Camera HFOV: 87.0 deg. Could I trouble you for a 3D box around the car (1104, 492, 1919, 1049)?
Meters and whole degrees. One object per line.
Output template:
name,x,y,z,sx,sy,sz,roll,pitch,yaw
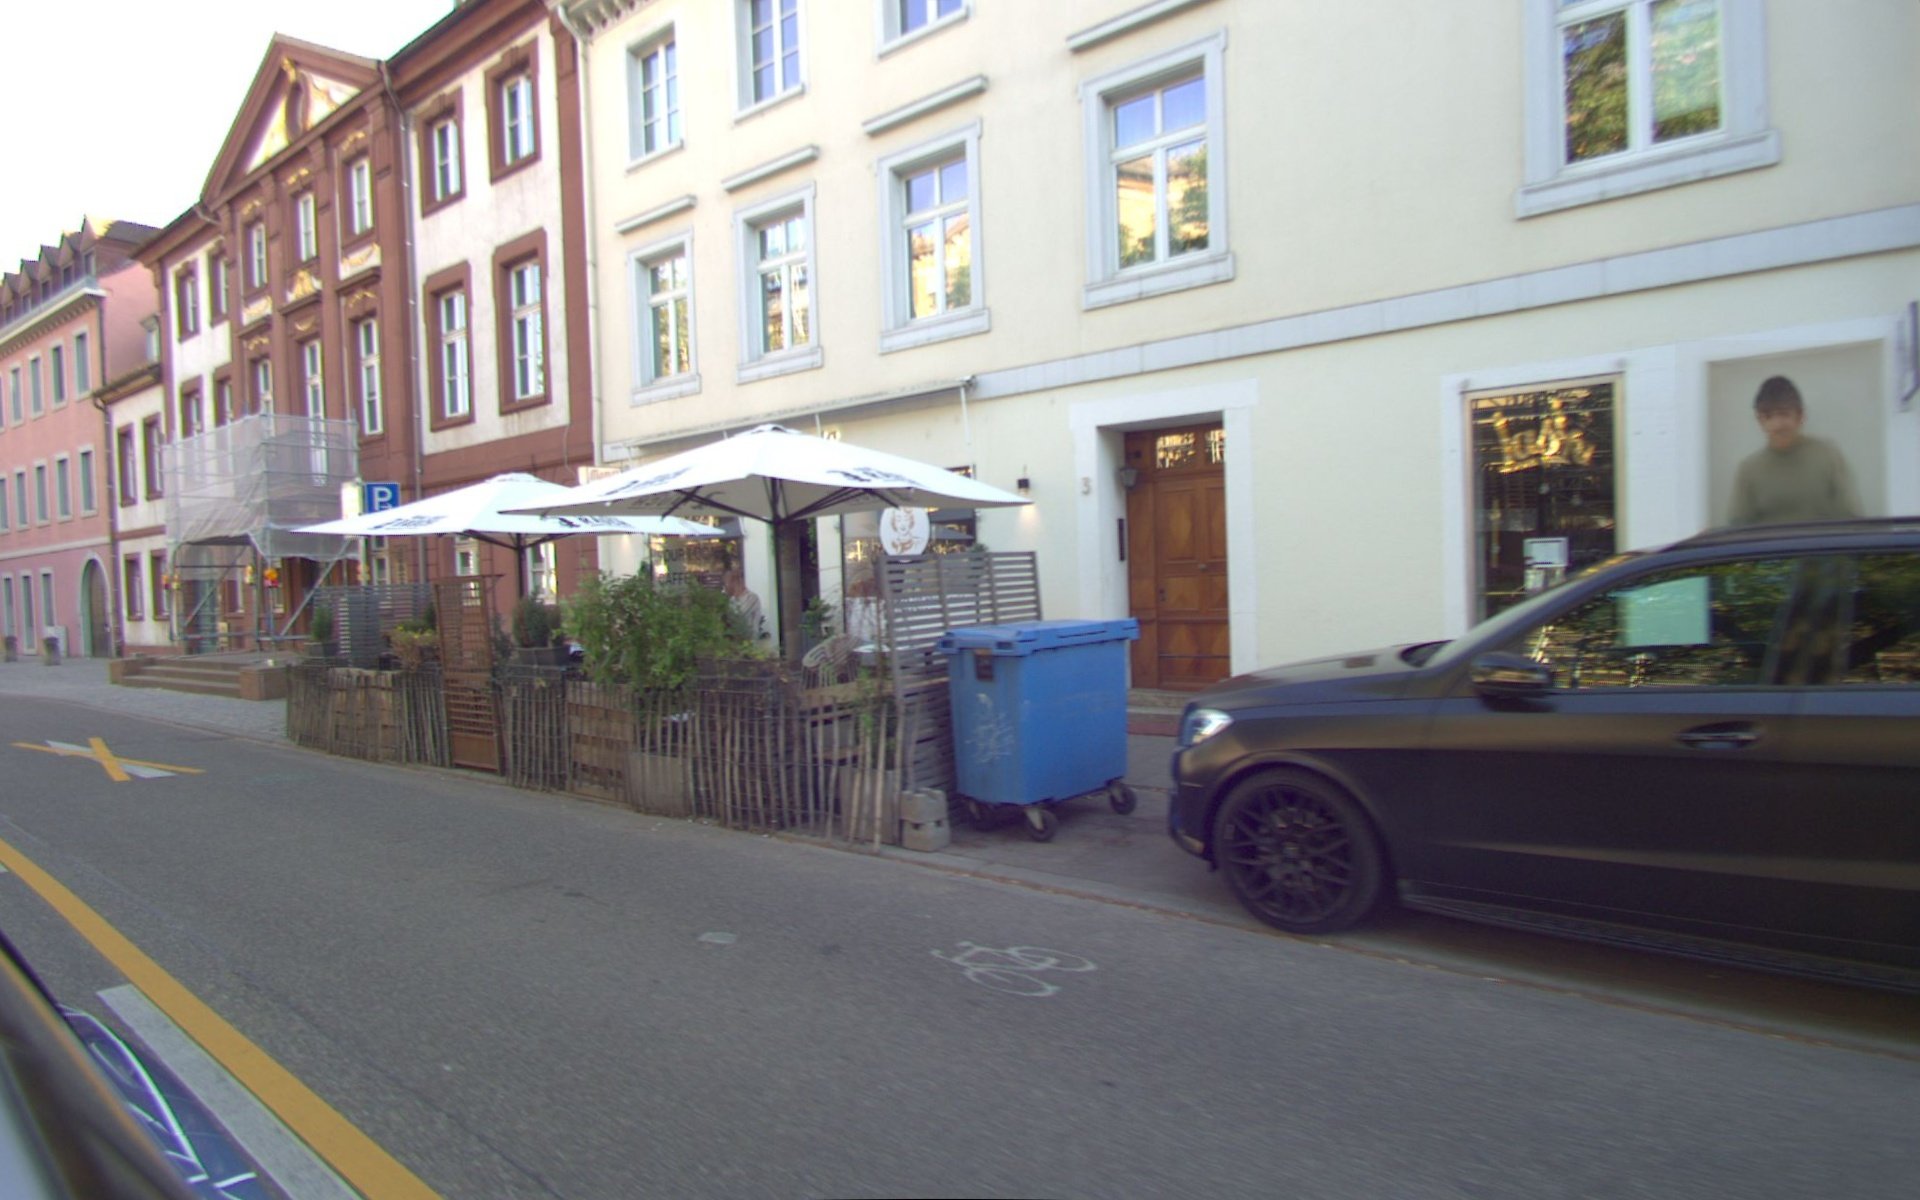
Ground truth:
car,3.150,0.508,4.107,4.781,1.692,1.903,-1,0,40

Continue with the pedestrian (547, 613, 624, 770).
pedestrian,-3.612,0.857,9.760,0.502,1.444,0.465,-1,1,42

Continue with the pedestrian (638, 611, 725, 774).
pedestrian,-2.516,0.816,9.160,0.487,1.401,0.519,-2,1,35

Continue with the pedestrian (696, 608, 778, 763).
pedestrian,-2.114,0.788,9.610,0.487,1.401,0.519,-2,1,35

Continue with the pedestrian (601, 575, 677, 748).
pedestrian,-3.468,0.641,10.928,0.588,1.788,0.439,-3,1,-44

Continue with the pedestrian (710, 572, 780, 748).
pedestrian,-2.274,0.614,10.679,0.432,1.788,0.598,-2,1,-39

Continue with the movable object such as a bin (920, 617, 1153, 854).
movable object such as a bin,0.505,0.786,6.518,0.930,1.305,1.203,-1,0,42

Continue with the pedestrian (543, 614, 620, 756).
pedestrian,-3.949,0.866,10.559,0.487,1.401,0.519,-2,1,35

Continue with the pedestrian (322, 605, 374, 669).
pedestrian,-10.641,0.644,17.597,0.550,1.060,0.532,-2,2,33
